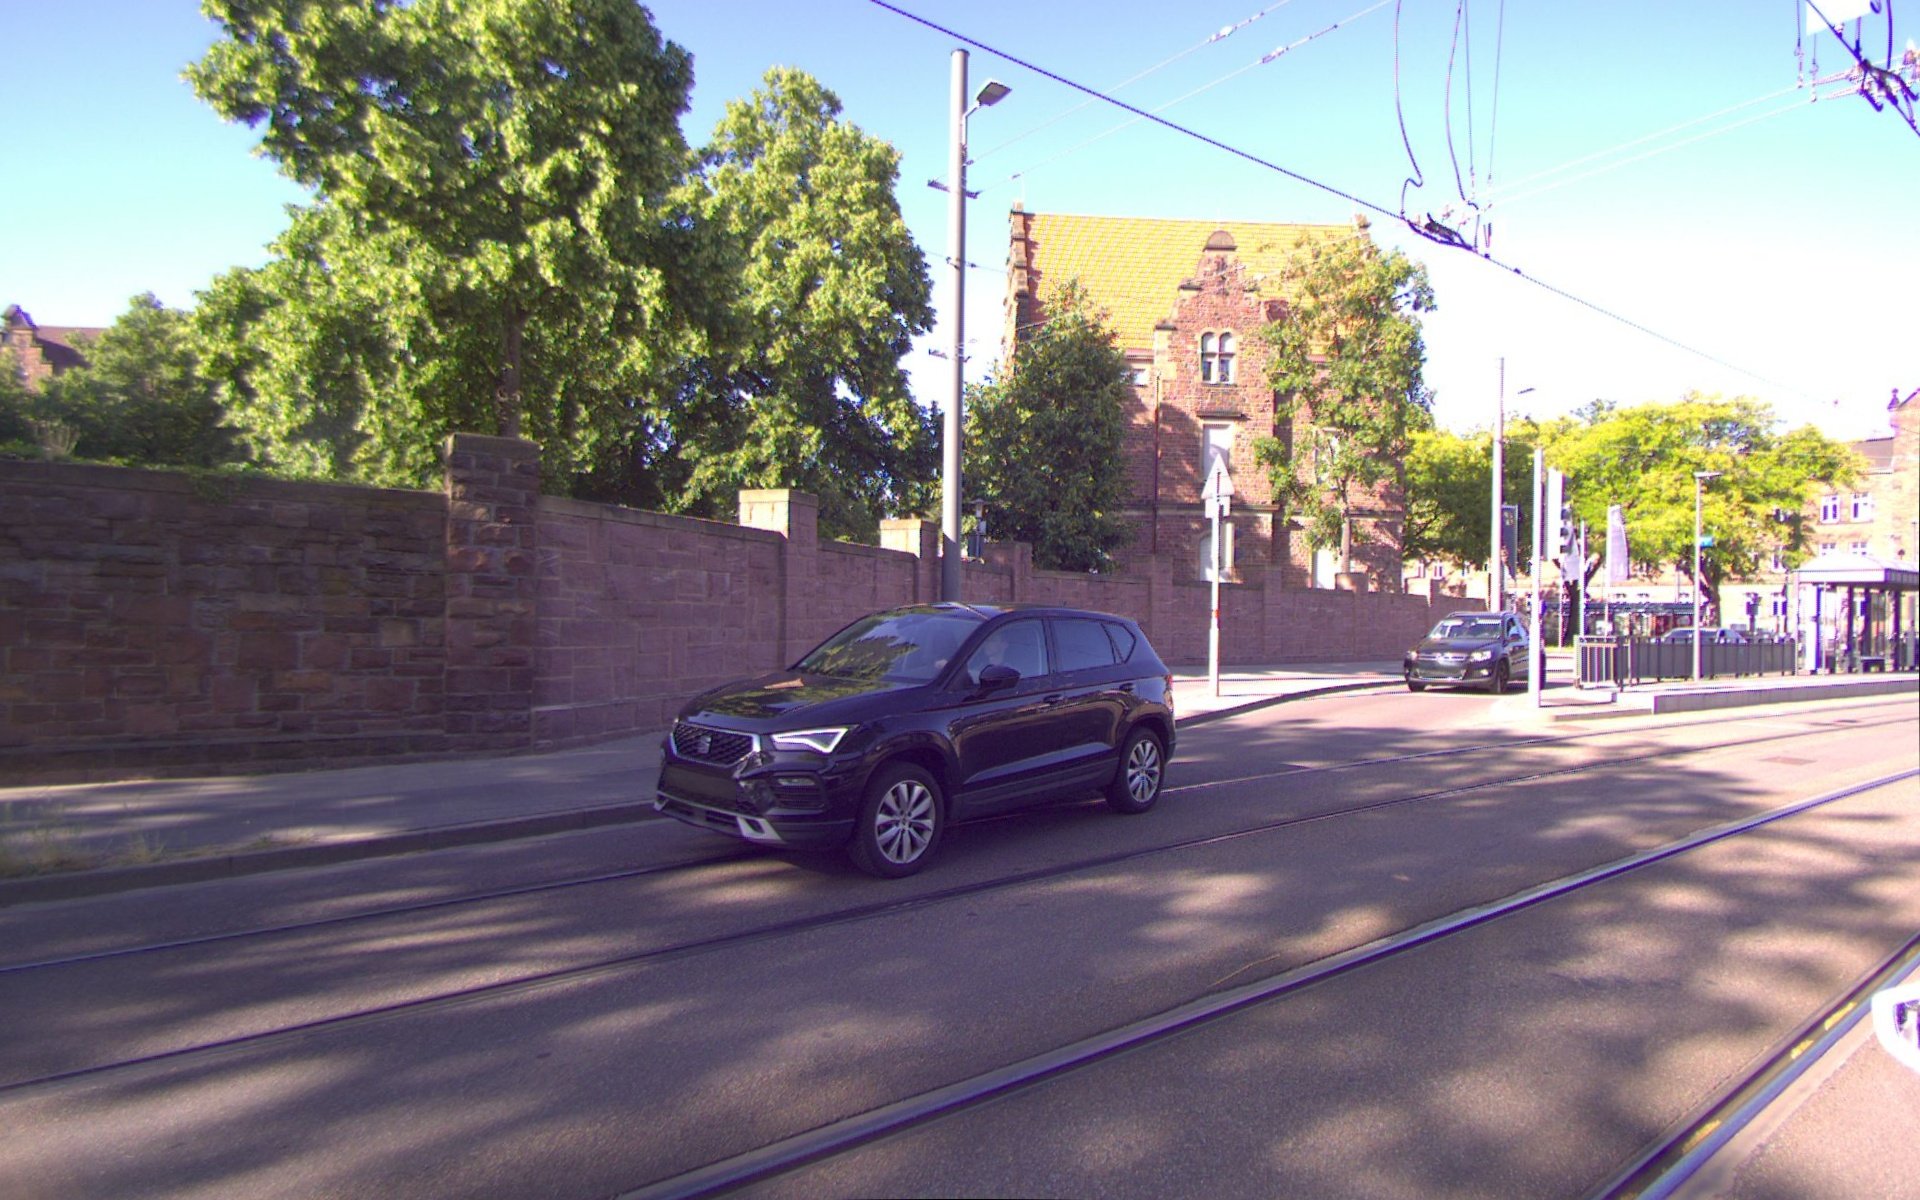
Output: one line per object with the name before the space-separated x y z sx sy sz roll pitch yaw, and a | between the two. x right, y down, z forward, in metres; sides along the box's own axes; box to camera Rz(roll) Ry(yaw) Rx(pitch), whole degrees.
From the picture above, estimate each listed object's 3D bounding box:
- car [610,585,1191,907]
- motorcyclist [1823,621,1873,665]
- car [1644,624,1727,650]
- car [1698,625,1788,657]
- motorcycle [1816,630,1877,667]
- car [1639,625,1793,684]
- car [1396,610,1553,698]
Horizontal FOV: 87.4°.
car | -0.168 0.781 7.285 1.899 1.638 4.096 0 -1 41
motorcyclist | 32.222 1.543 36.452 1.045 1.545 1.117 2 0 -36
car | 48.047 2.412 66.595 1.855 1.542 4.045 2 0 -30
car | 46.241 2.417 59.385 1.730 1.682 3.840 2 0 -30
motorcycle | 32.147 1.738 36.399 2.549 1.260 1.122 2 0 -36
car | 21.658 1.495 28.745 4.568 1.434 1.874 -1 0 -30
car | 10.804 1.070 20.976 1.777 1.659 4.093 -1 -2 45
